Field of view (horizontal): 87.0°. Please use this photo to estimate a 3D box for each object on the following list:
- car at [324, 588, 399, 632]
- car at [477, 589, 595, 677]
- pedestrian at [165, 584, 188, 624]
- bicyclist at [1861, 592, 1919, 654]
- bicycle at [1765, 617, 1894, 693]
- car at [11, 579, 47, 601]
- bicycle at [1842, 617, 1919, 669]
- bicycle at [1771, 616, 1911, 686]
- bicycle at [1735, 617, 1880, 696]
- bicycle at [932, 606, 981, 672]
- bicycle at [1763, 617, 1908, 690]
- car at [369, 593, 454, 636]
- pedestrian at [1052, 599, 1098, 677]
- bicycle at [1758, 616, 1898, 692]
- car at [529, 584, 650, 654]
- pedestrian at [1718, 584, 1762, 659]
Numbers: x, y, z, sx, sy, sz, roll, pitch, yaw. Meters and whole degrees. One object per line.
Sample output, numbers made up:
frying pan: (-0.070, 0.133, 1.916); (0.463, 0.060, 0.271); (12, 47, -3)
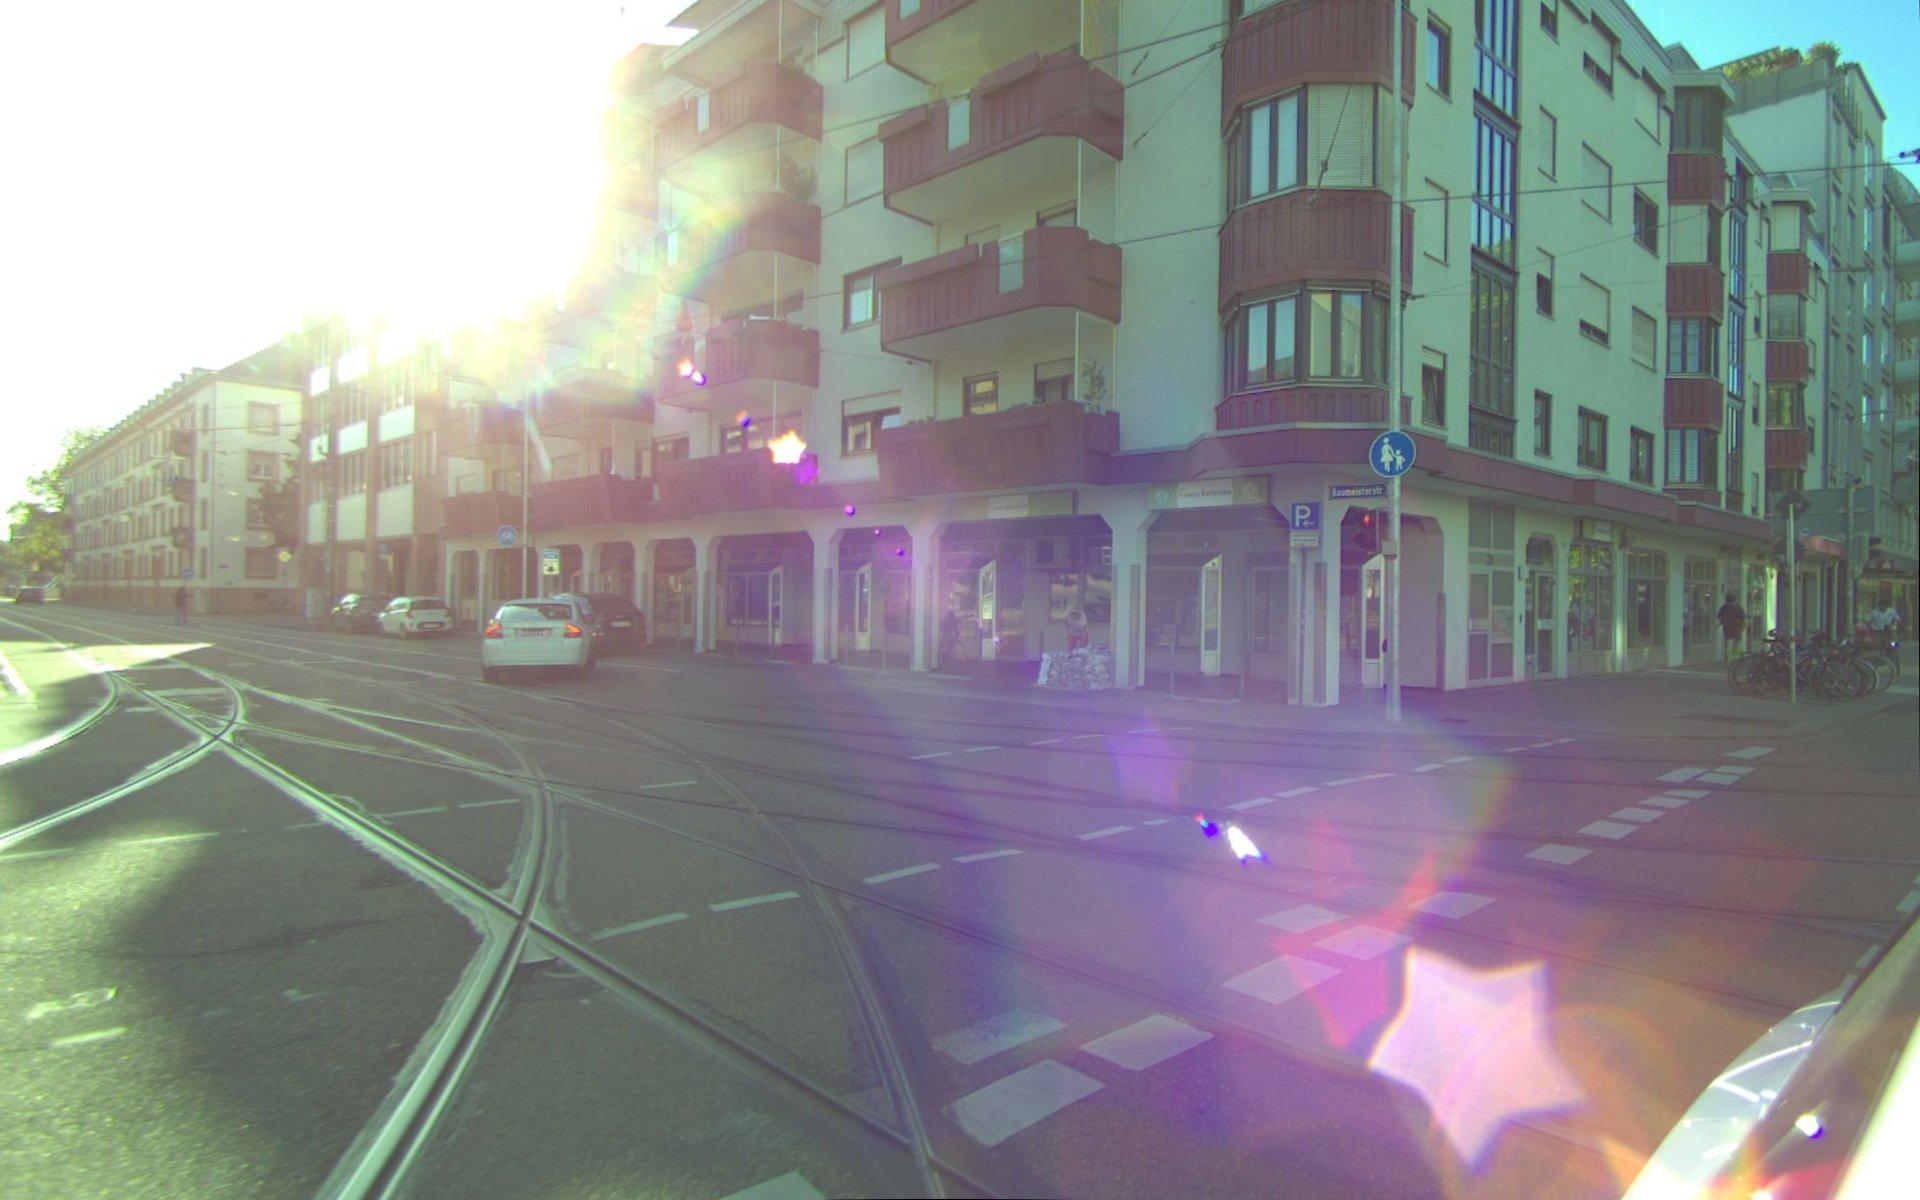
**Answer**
car: (-23.873, 0.370, 40.301); (1.858, 1.638, 3.993); (0, 0, -41)
car: (-8.114, 0.547, 19.721); (1.816, 1.474, 4.910); (1, 0, -19)
pedestrian: (-36.628, 0.182, 47.302); (0.985, 1.792, 0.686); (1, 0, 42)
bicyclist: (24.179, 0.576, 26.067); (1.044, 1.559, 1.075); (1, 0, 13)
bicycle: (15.166, 0.932, 17.698); (0.486, 1.214, 1.628); (1, 1, -34)
car: (-82.109, -0.858, 89.265); (3.983, 1.872, 1.970); (-1, -2, 42)
bicycle: (24.195, 1.093, 26.171); (0.949, 1.198, 2.588); (1, 1, 13)
bicycle: (16.604, 0.940, 19.117); (0.562, 1.185, 1.943); (1, 1, -42)
bicycle: (14.504, 0.933, 17.368); (0.535, 1.214, 1.808); (2, 0, -34)
bicycle: (-0.096, 0.756, 20.426); (0.603, 1.214, 1.801); (1, 1, -12)
bicycle: (16.143, 0.956, 18.701); (0.581, 1.214, 1.979); (1, 1, -43)
car: (-19.903, 0.495, 36.672); (1.880, 1.489, 3.993); (0, 0, -41)
pedestrian: (2.075, 0.675, 18.263); (0.656, 1.367, 0.651); (1, 0, 23)
bicycle: (15.525, 0.940, 18.153); (0.487, 1.236, 1.837); (1, 0, -35)
car: (-9.785, 0.463, 26.590); (1.708, 1.705, 3.901); (0, 0, -41)
pedestrian: (20.225, 0.548, 26.248); (0.787, 1.881, 0.724); (1, 0, -40)
